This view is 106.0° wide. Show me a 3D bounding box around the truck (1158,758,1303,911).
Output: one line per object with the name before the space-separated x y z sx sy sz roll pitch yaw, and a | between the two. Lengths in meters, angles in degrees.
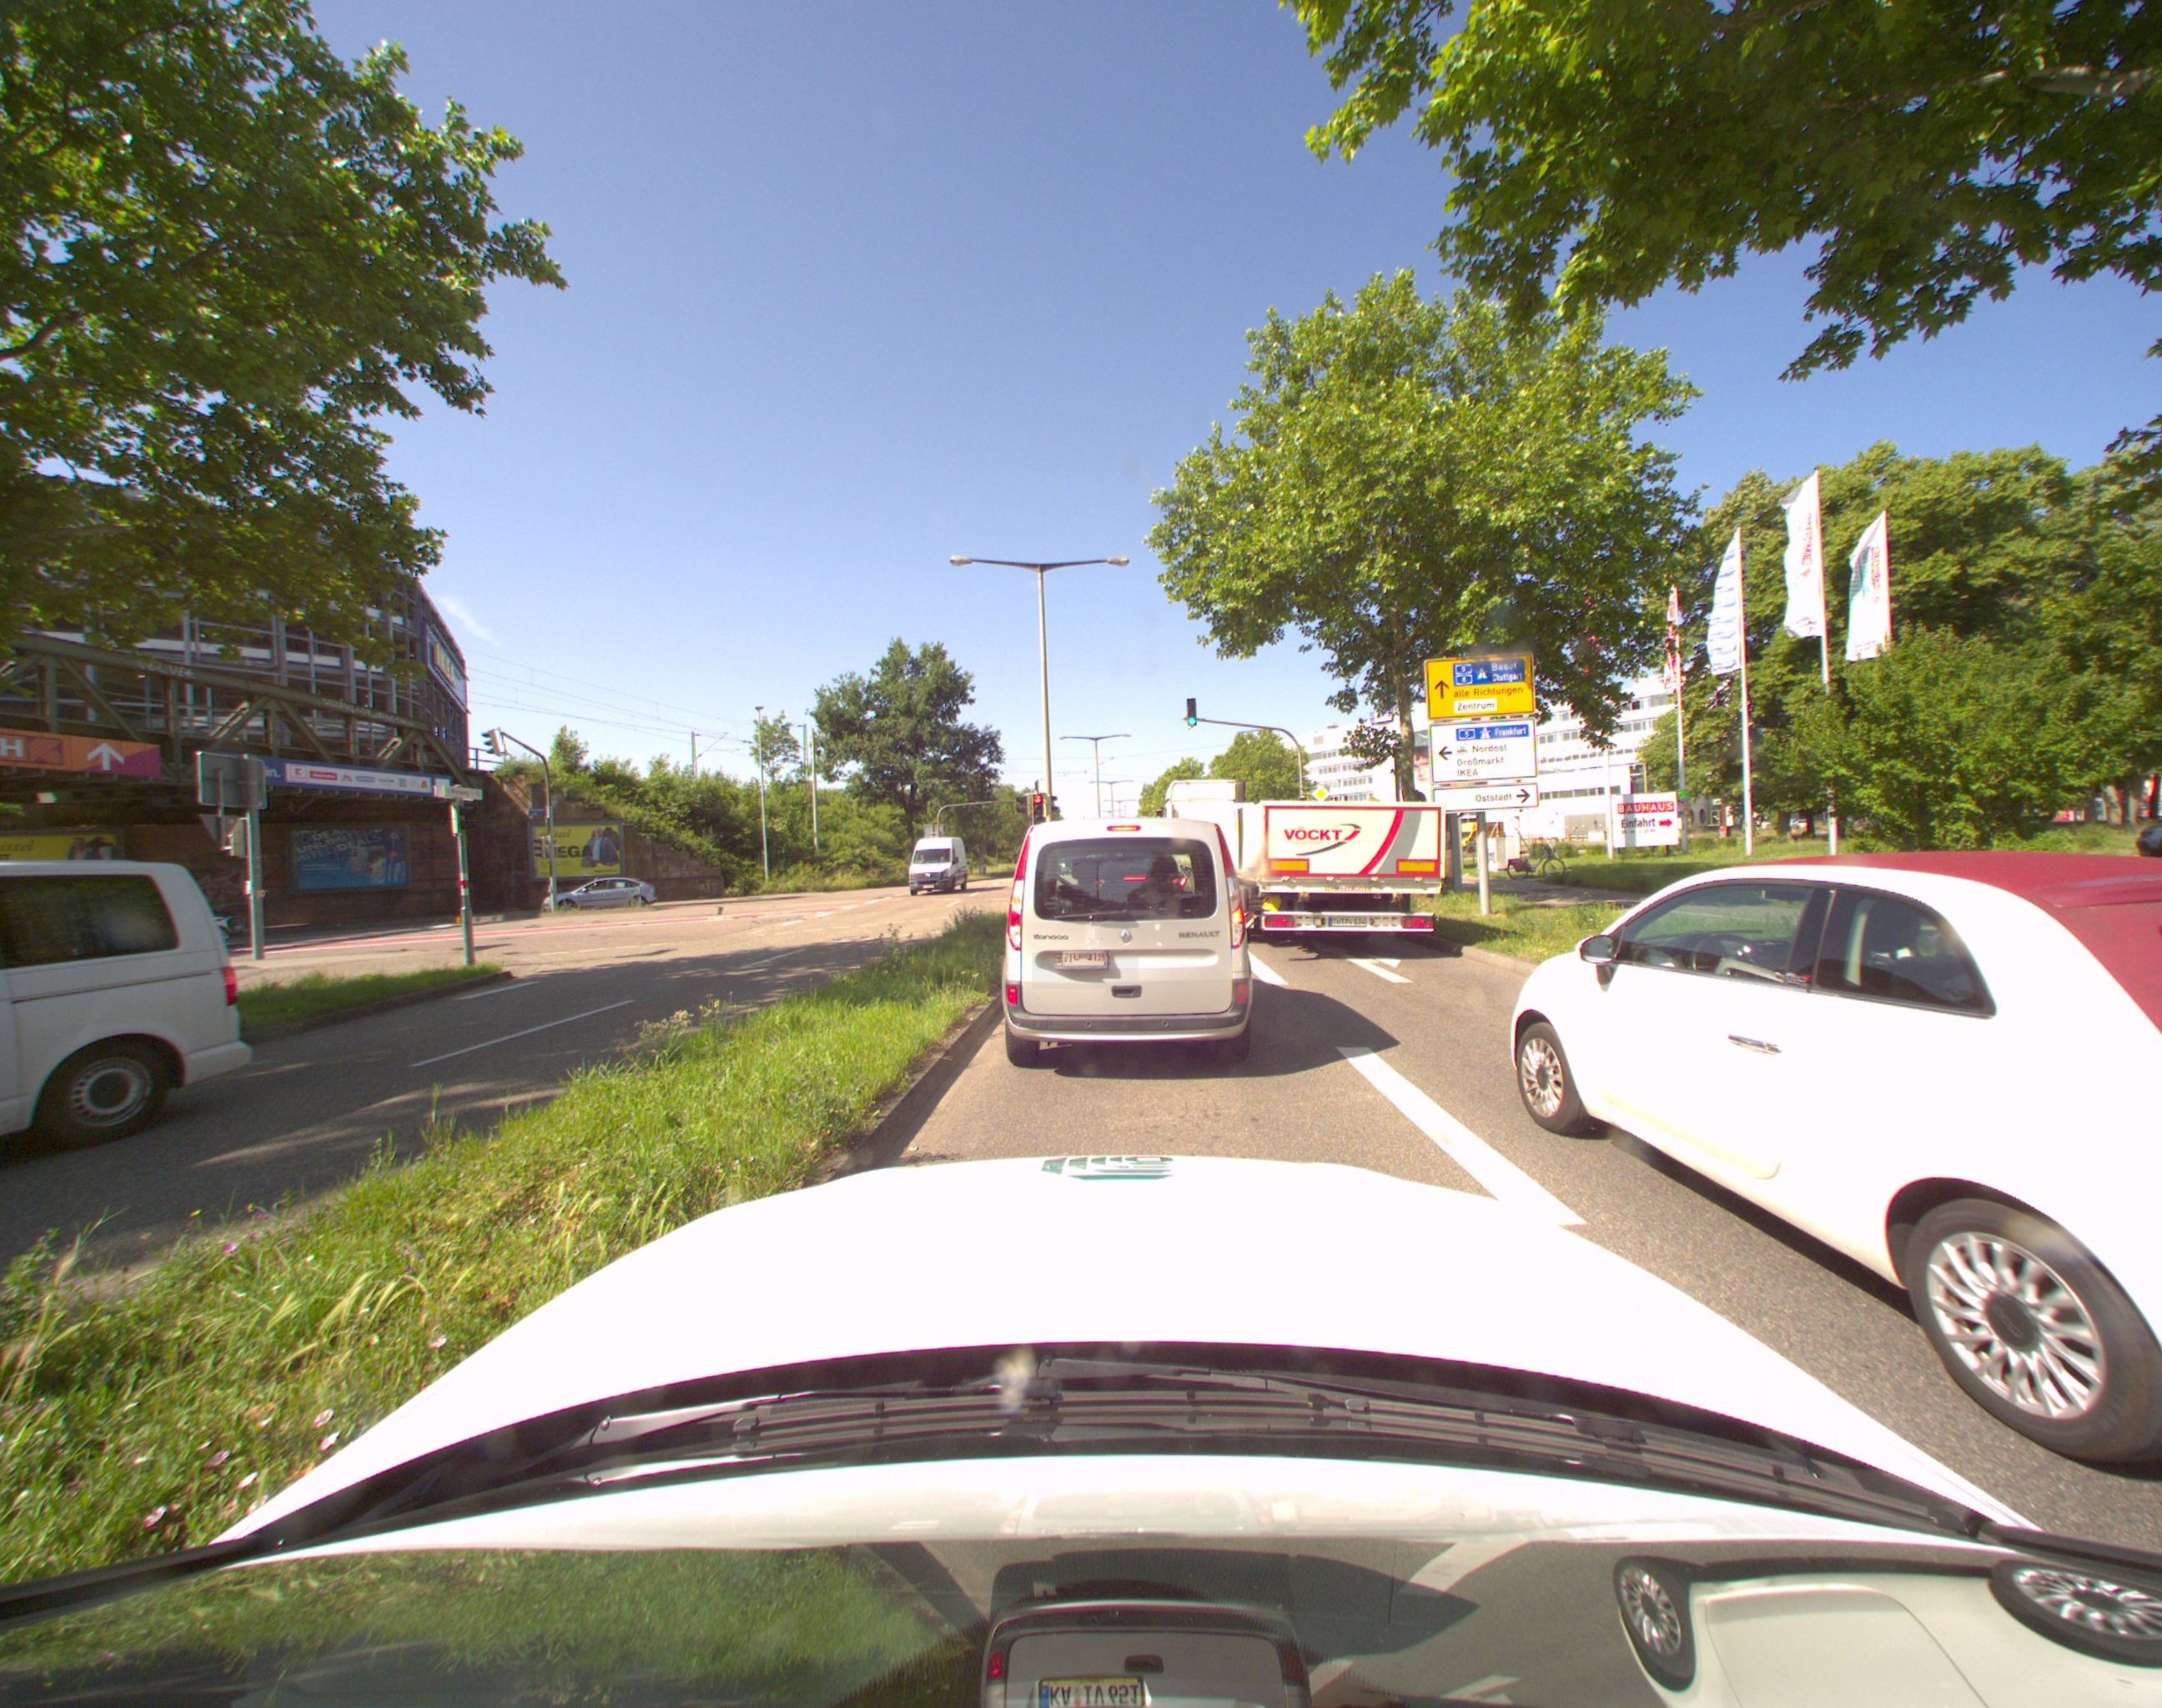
truck | 4.066 -0.470 24.029 3.060 3.758 7.479 -1 0 2

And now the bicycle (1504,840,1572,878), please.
bicycle | 15.001 0.172 26.747 1.815 1.214 0.634 -1 -1 7

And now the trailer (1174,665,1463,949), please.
trailer | 3.859 -0.597 17.017 3.004 3.740 12.249 -1 0 3

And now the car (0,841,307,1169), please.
car | -7.301 0.940 4.012 1.986 1.891 4.989 -4 0 2

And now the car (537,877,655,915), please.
car | -21.002 1.771 35.301 4.246 1.409 1.896 -1 -1 -36

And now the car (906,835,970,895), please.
car | -6.700 0.491 38.742 2.053 2.614 5.866 -1 0 -1

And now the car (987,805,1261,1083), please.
car | 0.353 0.599 7.265 1.742 1.772 3.951 -1 0 2

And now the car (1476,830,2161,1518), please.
car | 3.184 0.658 3.284 1.654 1.436 3.523 -1 0 4
